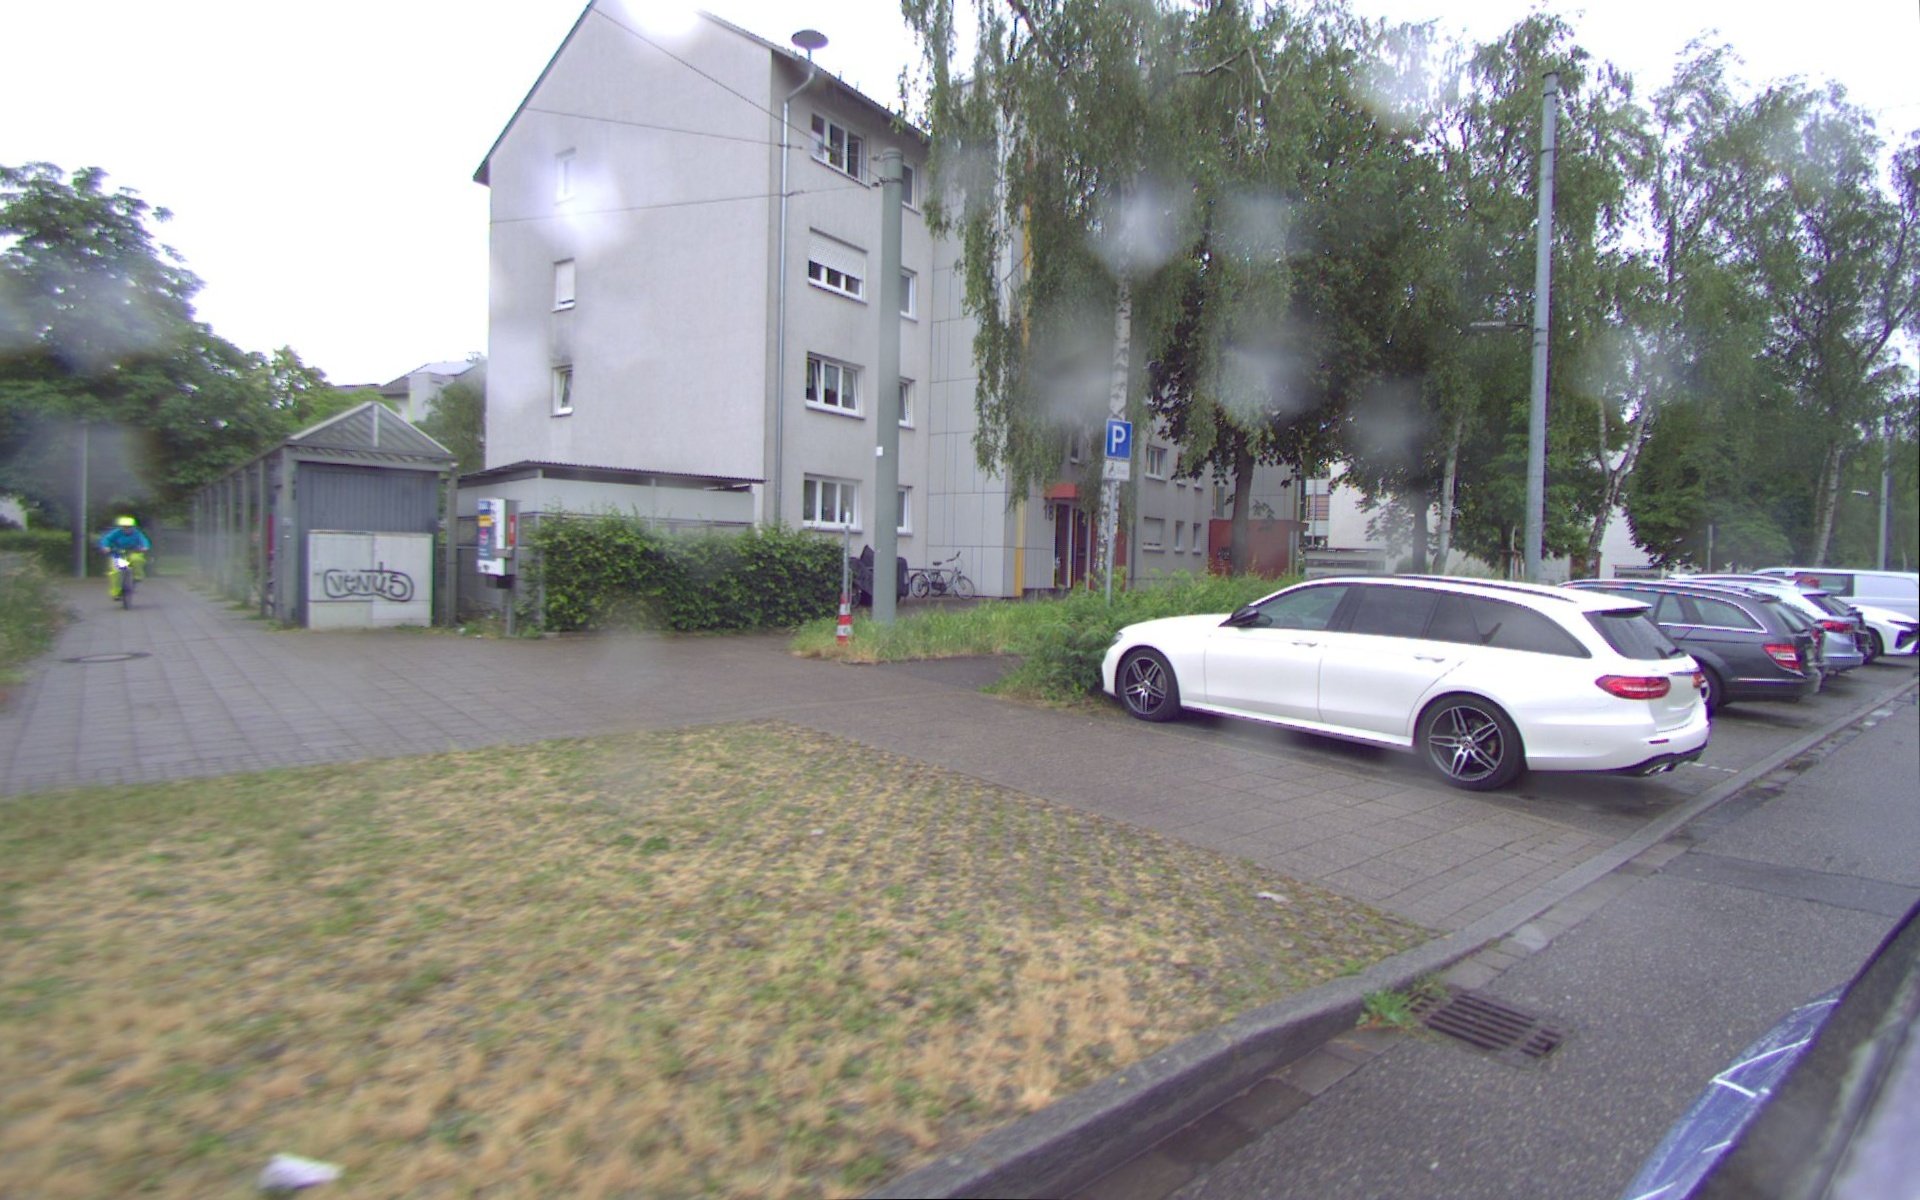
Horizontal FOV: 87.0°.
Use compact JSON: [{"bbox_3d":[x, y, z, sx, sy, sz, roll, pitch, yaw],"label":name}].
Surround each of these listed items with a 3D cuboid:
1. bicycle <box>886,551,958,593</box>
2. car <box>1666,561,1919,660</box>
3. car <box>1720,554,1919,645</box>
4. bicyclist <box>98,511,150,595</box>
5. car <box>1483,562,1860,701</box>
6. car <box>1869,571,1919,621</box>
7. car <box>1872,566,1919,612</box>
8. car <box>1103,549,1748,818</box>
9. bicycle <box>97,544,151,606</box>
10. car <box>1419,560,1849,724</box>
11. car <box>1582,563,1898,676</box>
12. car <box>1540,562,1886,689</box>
[{"bbox_3d":[-0.917,-0.683,24.927,0.701,1.005,1.918,0,1,38],"label":"bicycle"},{"bbox_3d":[17.332,0.130,20.868,1.650,1.637,4.182,-1,5,-39],"label":"car"},{"bbox_3d":[21.101,-0.066,24.400,4.173,1.888,1.654,6,6,44],"label":"car"},{"bbox_3d":[-15.334,-0.850,18.566,0.627,1.492,1.105,-1,1,-45],"label":"bicyclist"},{"bbox_3d":[9.866,0.313,14.283,1.652,1.456,4.045,-1,6,-43],"label":"car"},{"bbox_3d":[38.237,-0.155,39.362,1.866,1.937,3.999,-1,1,-36],"label":"car"},{"bbox_3d":[41.532,-0.485,42.862,1.866,1.937,3.999,-1,1,-36],"label":"car"},{"bbox_3d":[3.524,0.419,8.524,1.651,1.456,4.623,-1,5,-41],"label":"car"},{"bbox_3d":[-15.505,-0.485,18.750,0.590,1.080,2.027,-1,3,-45],"label":"bicycle"},{"bbox_3d":[8.026,0.357,12.356,1.652,1.456,4.045,-1,6,-43],"label":"car"},{"bbox_3d":[13.325,0.230,17.477,1.652,1.514,4.045,-1,6,-43],"label":"car"},{"bbox_3d":[11.618,0.272,15.836,1.652,1.514,4.045,-1,6,-43],"label":"car"}]
